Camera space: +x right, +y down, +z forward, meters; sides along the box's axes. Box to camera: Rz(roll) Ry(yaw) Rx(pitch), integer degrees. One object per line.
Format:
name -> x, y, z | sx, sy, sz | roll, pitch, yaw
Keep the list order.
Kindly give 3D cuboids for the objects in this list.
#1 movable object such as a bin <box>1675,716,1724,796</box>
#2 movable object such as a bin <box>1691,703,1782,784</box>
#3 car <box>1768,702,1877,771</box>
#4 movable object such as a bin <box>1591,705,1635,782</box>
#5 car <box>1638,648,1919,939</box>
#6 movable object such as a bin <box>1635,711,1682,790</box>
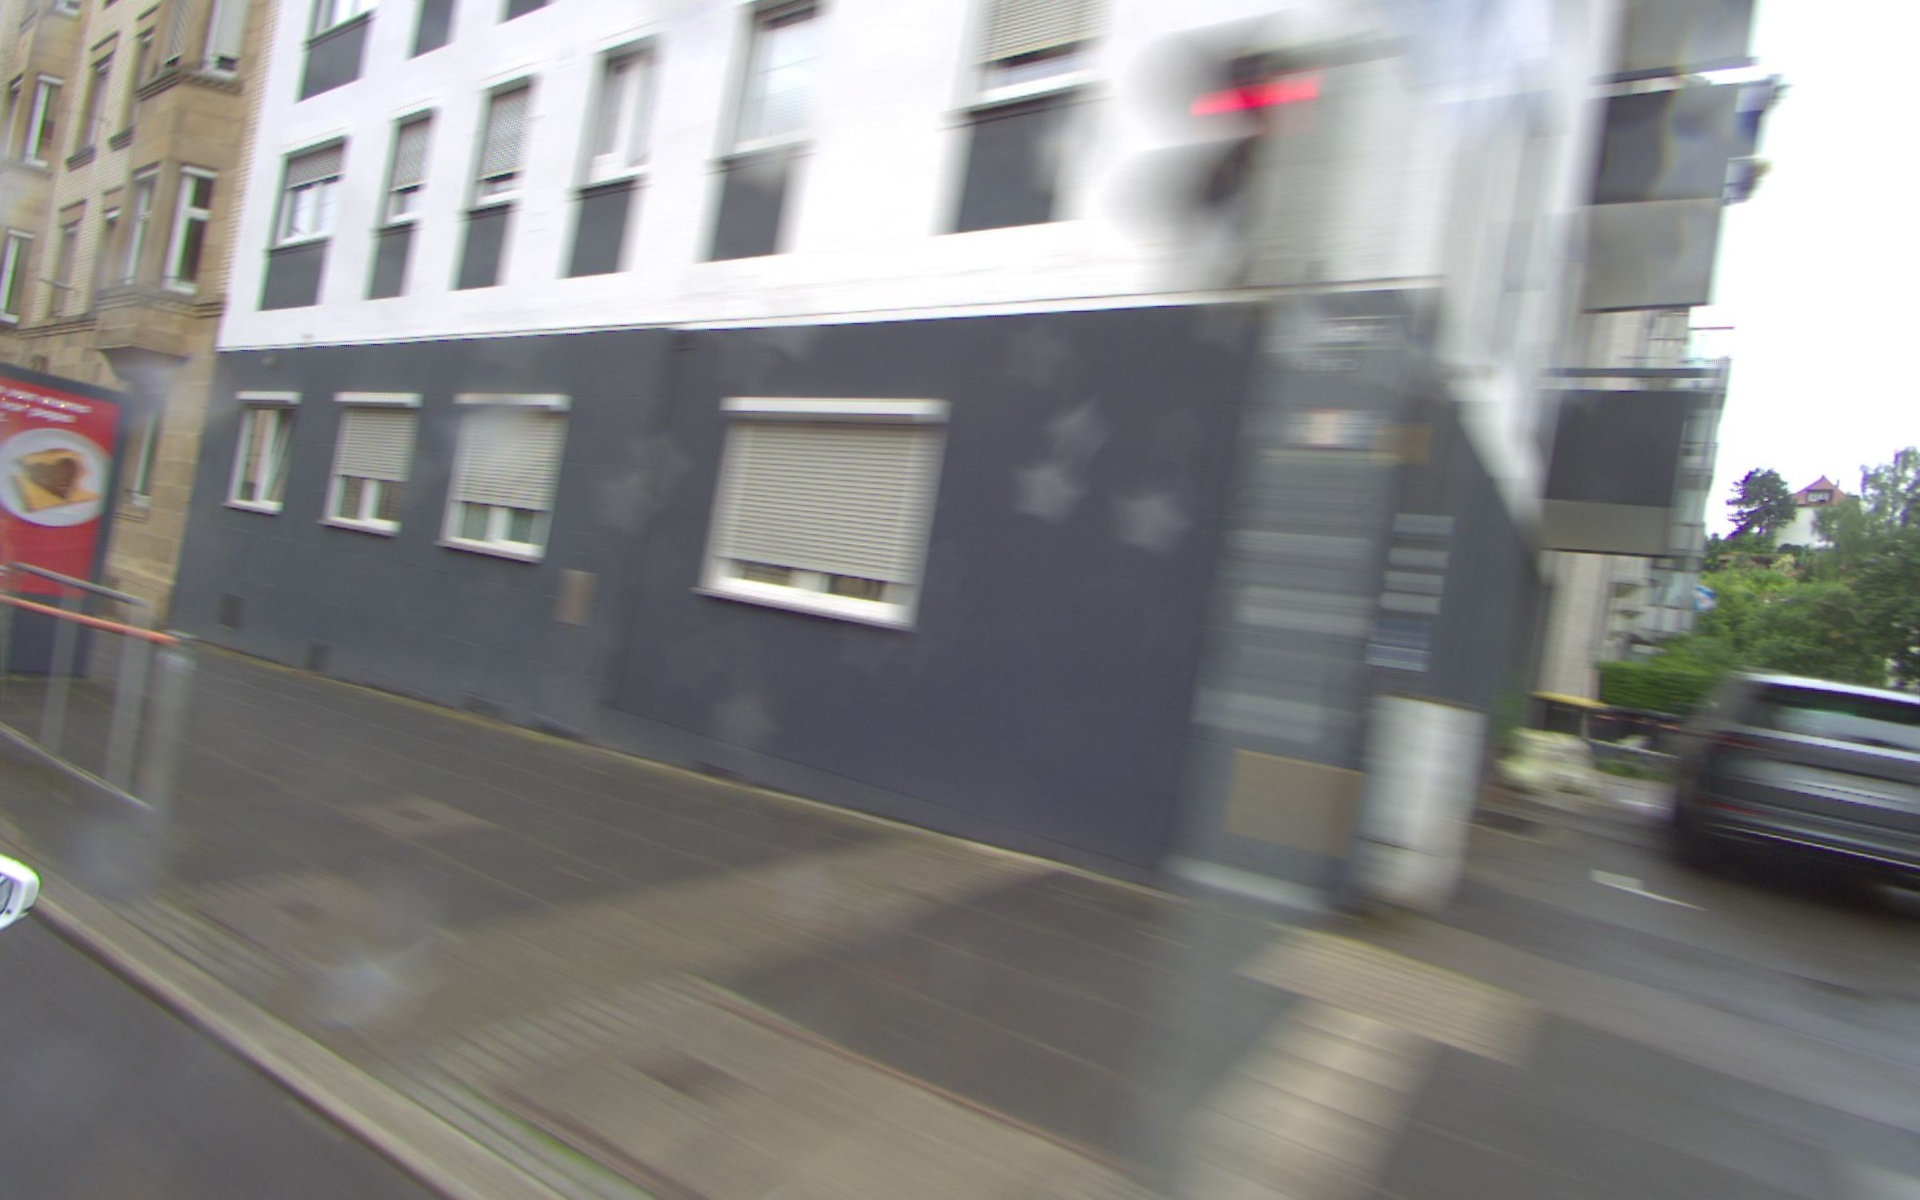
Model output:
movable object such as a bin -> 15.477, 3.253, 21.063 | 0.621, 1.543, 0.738 | 7, -3, 31
movable object such as a bin -> 16.580, 3.052, 21.534 | 1.332, 1.482, 1.064 | 6, -1, 33
car -> 26.505, 4.167, 31.055 | 1.969, 1.711, 4.055 | 6, -2, 35
movable object such as a bin -> 14.234, 3.124, 21.956 | 0.621, 1.543, 0.738 | 7, -3, 31
car -> 7.063, 1.479, 8.605 | 1.711, 1.711, 3.992 | 10, 1, 32
movable object such as a bin -> 14.803, 3.186, 21.341 | 0.621, 1.543, 0.738 | 7, -3, 31
